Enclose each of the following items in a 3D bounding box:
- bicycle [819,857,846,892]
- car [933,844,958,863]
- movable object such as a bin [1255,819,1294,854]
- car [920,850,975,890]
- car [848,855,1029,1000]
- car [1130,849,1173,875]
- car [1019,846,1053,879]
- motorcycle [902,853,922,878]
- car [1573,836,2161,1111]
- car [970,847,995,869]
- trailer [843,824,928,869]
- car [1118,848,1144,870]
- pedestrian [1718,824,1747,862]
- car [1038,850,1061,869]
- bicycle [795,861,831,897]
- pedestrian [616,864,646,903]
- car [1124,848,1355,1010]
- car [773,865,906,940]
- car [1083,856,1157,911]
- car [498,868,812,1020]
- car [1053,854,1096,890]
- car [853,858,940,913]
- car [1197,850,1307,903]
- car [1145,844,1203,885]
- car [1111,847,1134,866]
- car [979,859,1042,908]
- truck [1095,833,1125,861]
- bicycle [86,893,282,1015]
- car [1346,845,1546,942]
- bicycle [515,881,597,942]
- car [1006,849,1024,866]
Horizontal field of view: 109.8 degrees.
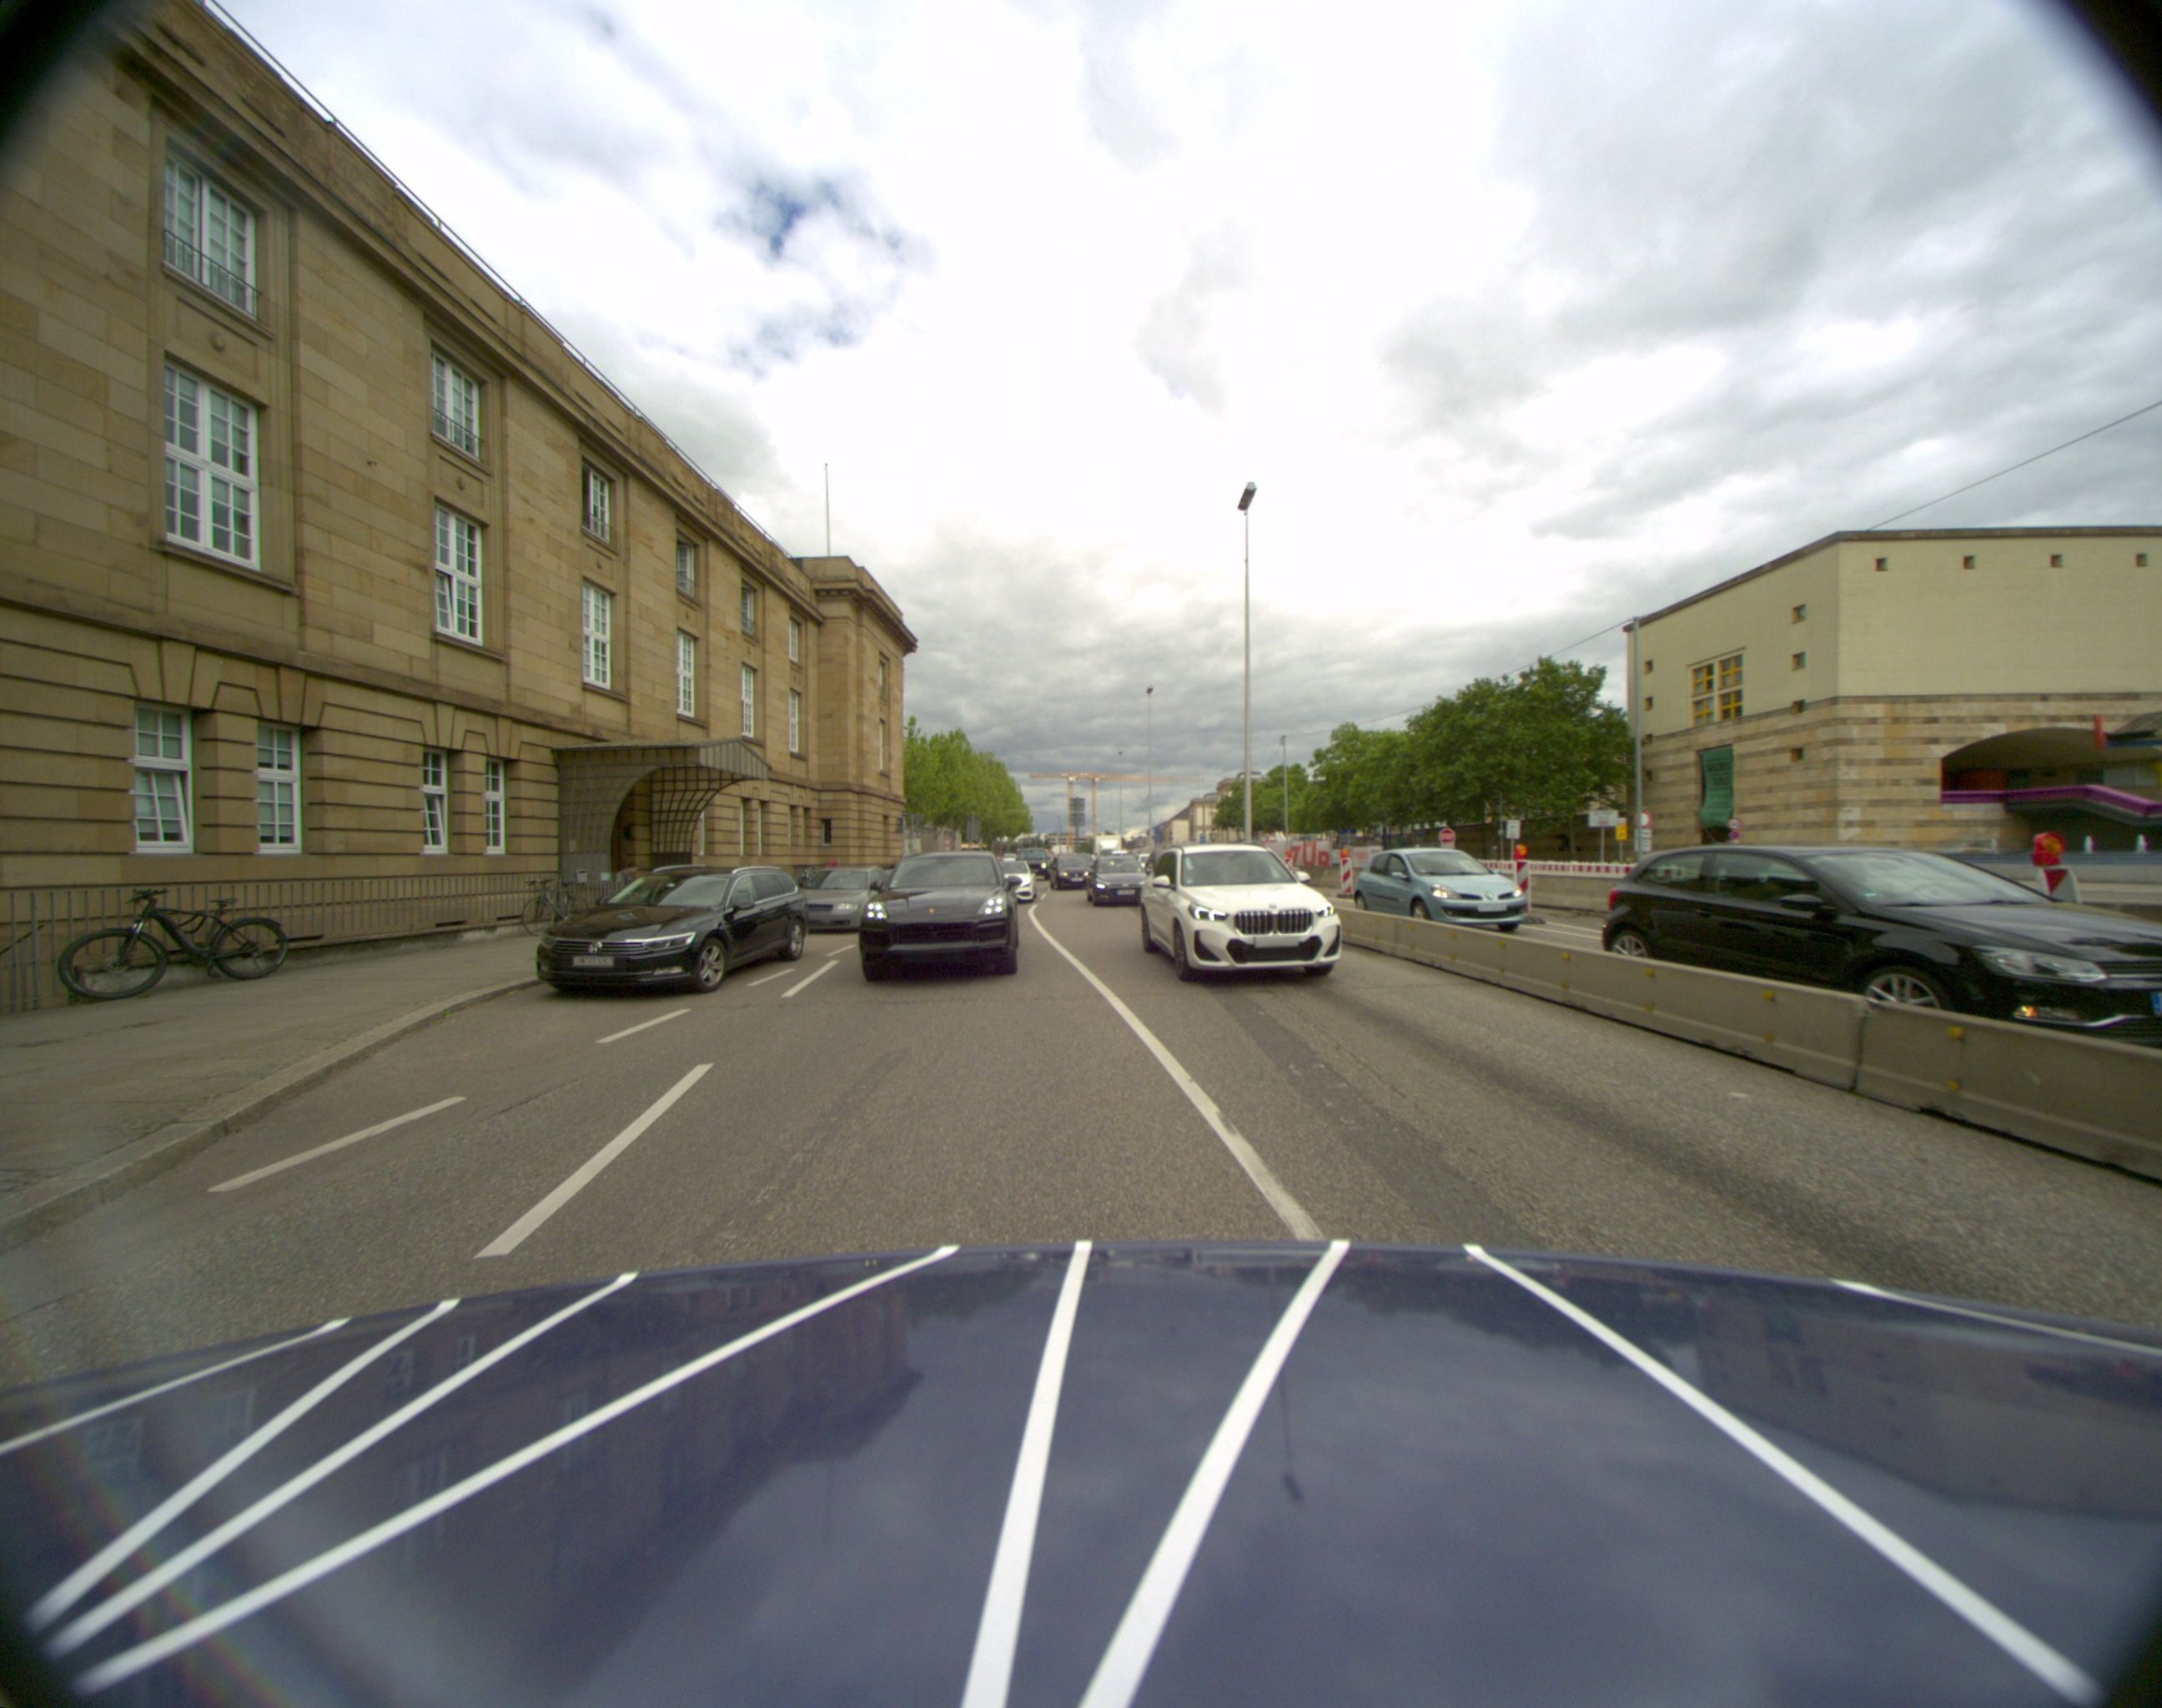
[{"bbox_3d":[-9.573,0.773,29.336,0.413,1.281,1.790,-1,1,1],"label":"bicycle"},{"bbox_3d":[-11.768,-0.055,66.235,1.584,1.521,3.503,-2,1,-1],"label":"car"},{"bbox_3d":[12.480,-1.117,49.148,1.526,2.172,3.291,-1,0,-3],"label":"movable object such as a bin"},{"bbox_3d":[-5.527,0.618,31.807,1.549,1.543,3.708,0,0,1],"label":"car"},{"bbox_3d":[-1.831,0.875,11.141,1.908,1.648,4.200,-2,0,-2],"label":"car"},{"bbox_3d":[3.743,0.400,40.926,1.731,1.288,3.933,-2,1,-3],"label":"car"},{"bbox_3d":[-2.762,0.476,46.931,1.953,1.914,4.397,-1,0,-3],"label":"car"},{"bbox_3d":[-8.819,0.569,39.645,0.456,1.235,1.923,0,1,5],"label":"motorcycle"},{"bbox_3d":[6.317,0.622,6.247,1.664,1.446,4.196,-2,1,-3],"label":"car"},{"bbox_3d":[-8.417,0.359,65.367,1.810,1.728,4.484,-2,0,-4],"label":"car"},{"bbox_3d":[-19.912,-0.822,78.691,3.154,4.077,13.978,-3,1,8],"label":"trailer"},{"bbox_3d":[3.722,0.351,57.151,1.634,1.546,3.001,-2,1,-1],"label":"car"},{"bbox_3d":[35.774,-0.606,41.732,0.847,2.002,0.815,-3,1,2],"label":"pedestrian"},{"bbox_3d":[-3.096,0.523,74.926,1.998,1.849,4.000,-1,0,1],"label":"car"},{"bbox_3d":[-9.680,0.876,27.525,0.557,1.210,1.915,-1,1,1],"label":"bicycle"},{"bbox_3d":[-10.644,0.691,17.992,0.430,0.868,0.373,-3,1,2],"label":"pedestrian"},{"bbox_3d":[1.830,0.769,10.489,1.856,1.619,4.904,-2,1,-3],"label":"car"},{"bbox_3d":[-5.333,1.001,17.321,1.713,1.418,3.996,0,1,0],"label":"car"},{"bbox_3d":[1.111,0.830,23.299,1.803,1.429,4.018,-2,1,-3],"label":"car"},{"bbox_3d":[-5.219,0.980,10.112,1.793,1.477,4.325,1,0,-1],"label":"car"},{"bbox_3d":[-0.360,0.781,34.211,1.613,1.465,3.620,-1,1,-5],"label":"car"},{"bbox_3d":[-5.446,0.891,22.850,1.619,1.447,3.858,0,1,1],"label":"car"},{"bbox_3d":[5.379,0.638,24.580,1.884,1.473,4.700,-2,1,-8],"label":"car"},{"bbox_3d":[3.994,0.406,33.357,1.781,1.611,4.044,-2,1,-3],"label":"car"},{"bbox_3d":[3.854,0.203,70.629,1.842,1.751,4.479,-1,0,-1],"label":"car"},{"bbox_3d":[-2.372,0.947,26.468,1.935,1.368,3.998,-4,1,-3],"label":"car"},{"bbox_3d":[2.935,-0.772,79.293,2.978,2.758,7.254,-1,0,1],"label":"truck"},{"bbox_3d":[-10.194,1.087,8.719,0.276,1.176,1.538,-2,1,4],"label":"bicycle"},{"bbox_3d":[6.515,0.610,14.081,1.677,1.498,3.852,-2,1,-3],"label":"car"},{"bbox_3d":[-10.127,1.080,14.739,0.222,1.023,1.859,-2,0,1],"label":"bicycle"},{"bbox_3d":[-8.208,0.423,94.975,1.999,2.002,3.999,-1,0,-1],"label":"car"}]
